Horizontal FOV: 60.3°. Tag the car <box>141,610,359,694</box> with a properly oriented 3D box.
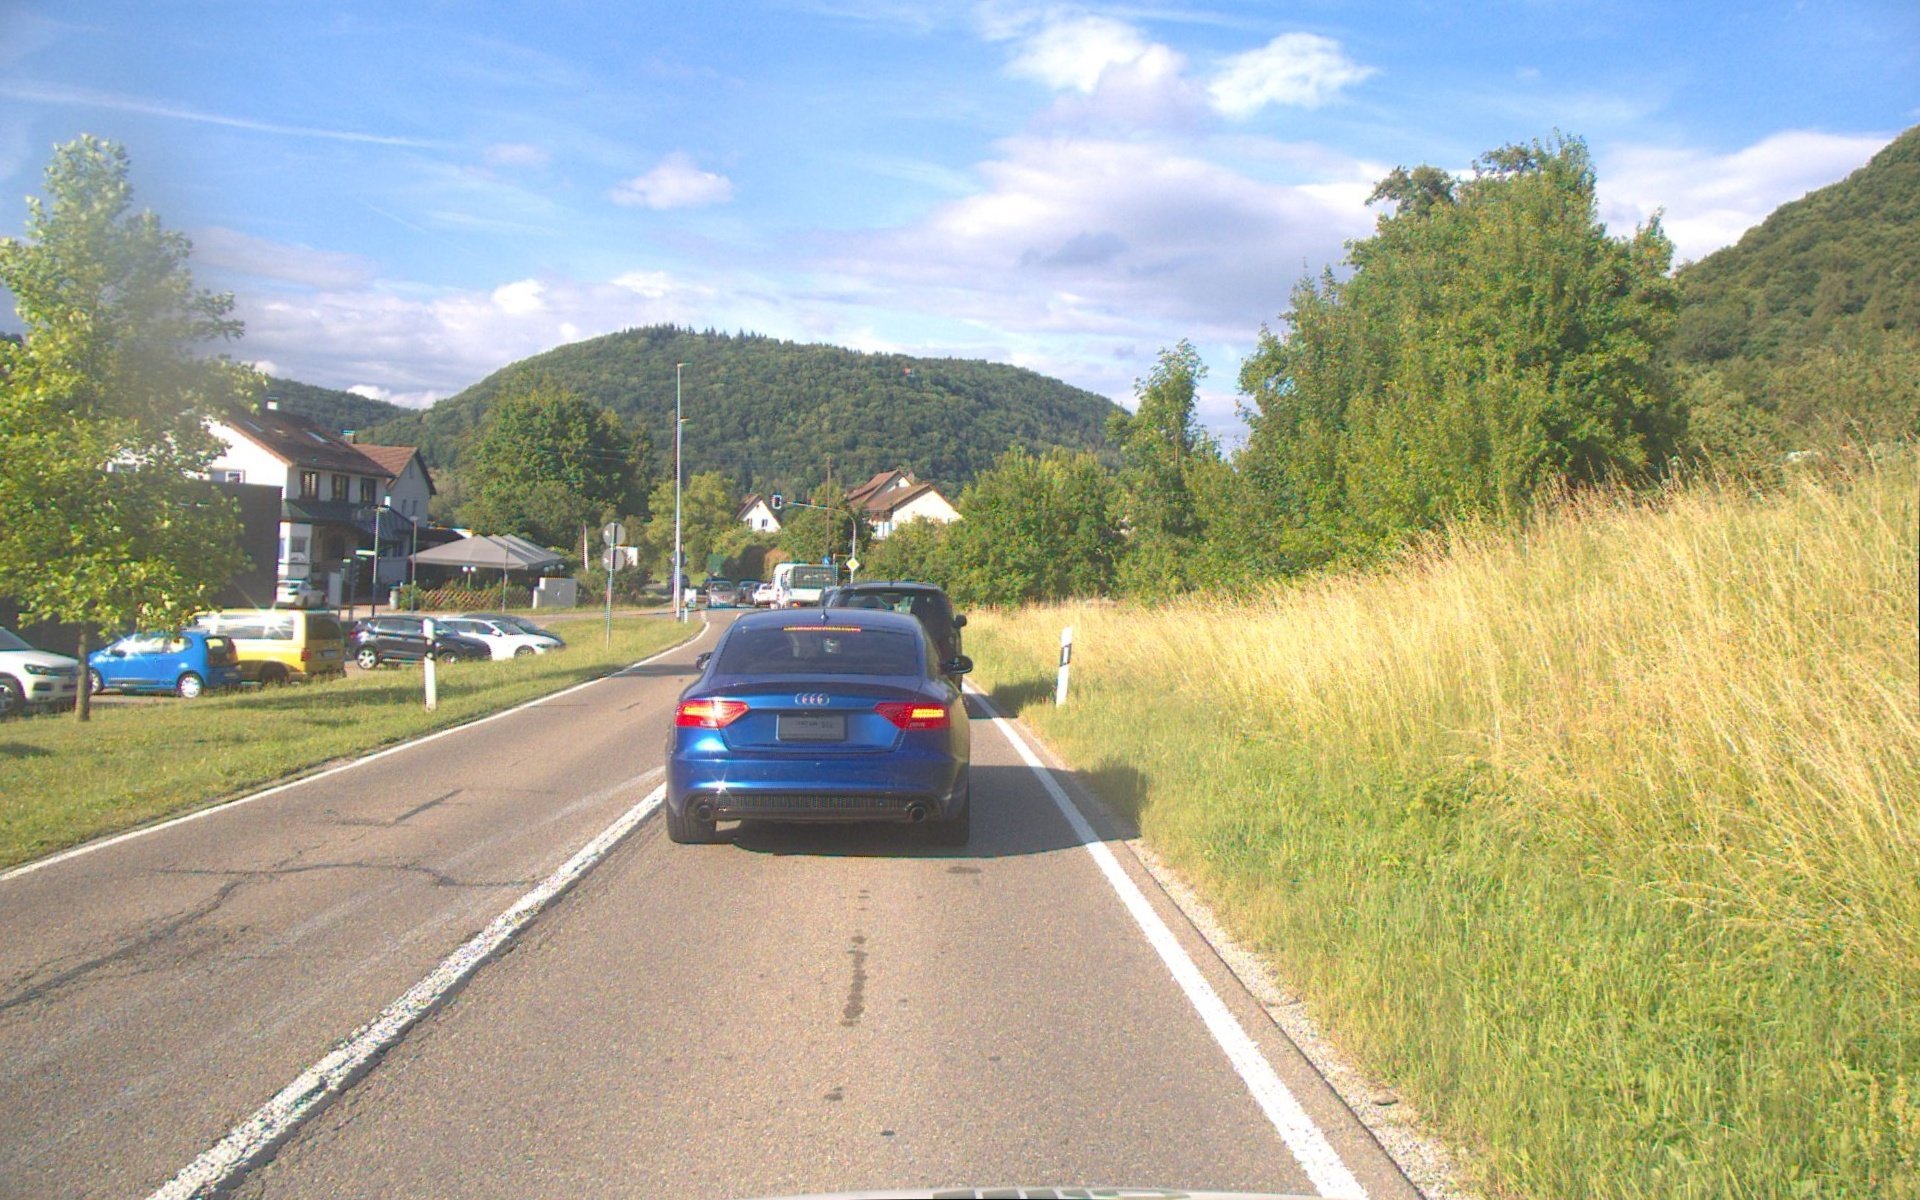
[{"bbox_3d":[-17.335,1.238,40.451,4.512,1.900,2.002,1,0,11],"label":"car"}]

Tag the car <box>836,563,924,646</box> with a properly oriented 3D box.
[{"bbox_3d":[-1.686,0.103,36.183,1.768,1.668,4.462,1,0,-1],"label":"car"}]

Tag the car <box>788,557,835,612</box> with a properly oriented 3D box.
[{"bbox_3d":[-6.267,-0.618,69.480,1.714,2.234,3.992,1,0,-9],"label":"car"}]

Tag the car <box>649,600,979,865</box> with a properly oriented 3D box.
[{"bbox_3d":[-0.786,0.720,10.835,1.758,1.412,4.000,0,0,0],"label":"car"}]

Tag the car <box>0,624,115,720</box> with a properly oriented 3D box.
[{"bbox_3d":[-19.166,1.353,32.177,4.442,1.733,2.001,1,0,7],"label":"car"}]

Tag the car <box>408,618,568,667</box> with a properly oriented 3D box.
[{"bbox_3d":[-15.619,1.391,54.862,4.711,1.520,1.882,1,0,7],"label":"car"}]

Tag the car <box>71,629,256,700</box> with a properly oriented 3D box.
[{"bbox_3d":[-18.208,1.465,37.889,3.420,1.498,1.634,1,0,5],"label":"car"}]

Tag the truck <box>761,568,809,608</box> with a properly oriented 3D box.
[{"bbox_3d":[-9.128,-0.593,85.844,1.668,1.988,5.901,1,0,-13],"label":"truck"}]

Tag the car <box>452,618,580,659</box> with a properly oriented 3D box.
[{"bbox_3d":[-15.404,1.328,57.514,3.903,1.333,1.761,1,0,3],"label":"car"}]

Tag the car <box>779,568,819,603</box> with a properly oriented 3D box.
[{"bbox_3d":[-7.895,-0.688,80.868,1.714,1.668,3.992,1,0,-9],"label":"car"}]

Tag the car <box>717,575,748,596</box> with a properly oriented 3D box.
[{"bbox_3d":[-16.501,-1.046,119.988,1.671,1.516,3.510,1,0,-17],"label":"car"}]

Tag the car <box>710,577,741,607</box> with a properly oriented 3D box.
[{"bbox_3d":[-13.763,-0.481,96.844,1.703,1.691,3.463,1,0,-9],"label":"car"}]

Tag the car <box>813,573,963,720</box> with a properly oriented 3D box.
[{"bbox_3d":[-0.837,0.550,21.124,1.710,1.668,4.000,1,0,0],"label":"car"}]

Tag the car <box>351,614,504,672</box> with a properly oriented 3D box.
[{"bbox_3d":[-16.208,1.289,50.434,3.939,1.666,2.001,1,0,7],"label":"car"}]

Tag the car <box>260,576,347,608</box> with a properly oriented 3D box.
[{"bbox_3d":[-32.206,-0.393,81.223,1.727,1.467,4.001,1,0,19],"label":"car"}]
